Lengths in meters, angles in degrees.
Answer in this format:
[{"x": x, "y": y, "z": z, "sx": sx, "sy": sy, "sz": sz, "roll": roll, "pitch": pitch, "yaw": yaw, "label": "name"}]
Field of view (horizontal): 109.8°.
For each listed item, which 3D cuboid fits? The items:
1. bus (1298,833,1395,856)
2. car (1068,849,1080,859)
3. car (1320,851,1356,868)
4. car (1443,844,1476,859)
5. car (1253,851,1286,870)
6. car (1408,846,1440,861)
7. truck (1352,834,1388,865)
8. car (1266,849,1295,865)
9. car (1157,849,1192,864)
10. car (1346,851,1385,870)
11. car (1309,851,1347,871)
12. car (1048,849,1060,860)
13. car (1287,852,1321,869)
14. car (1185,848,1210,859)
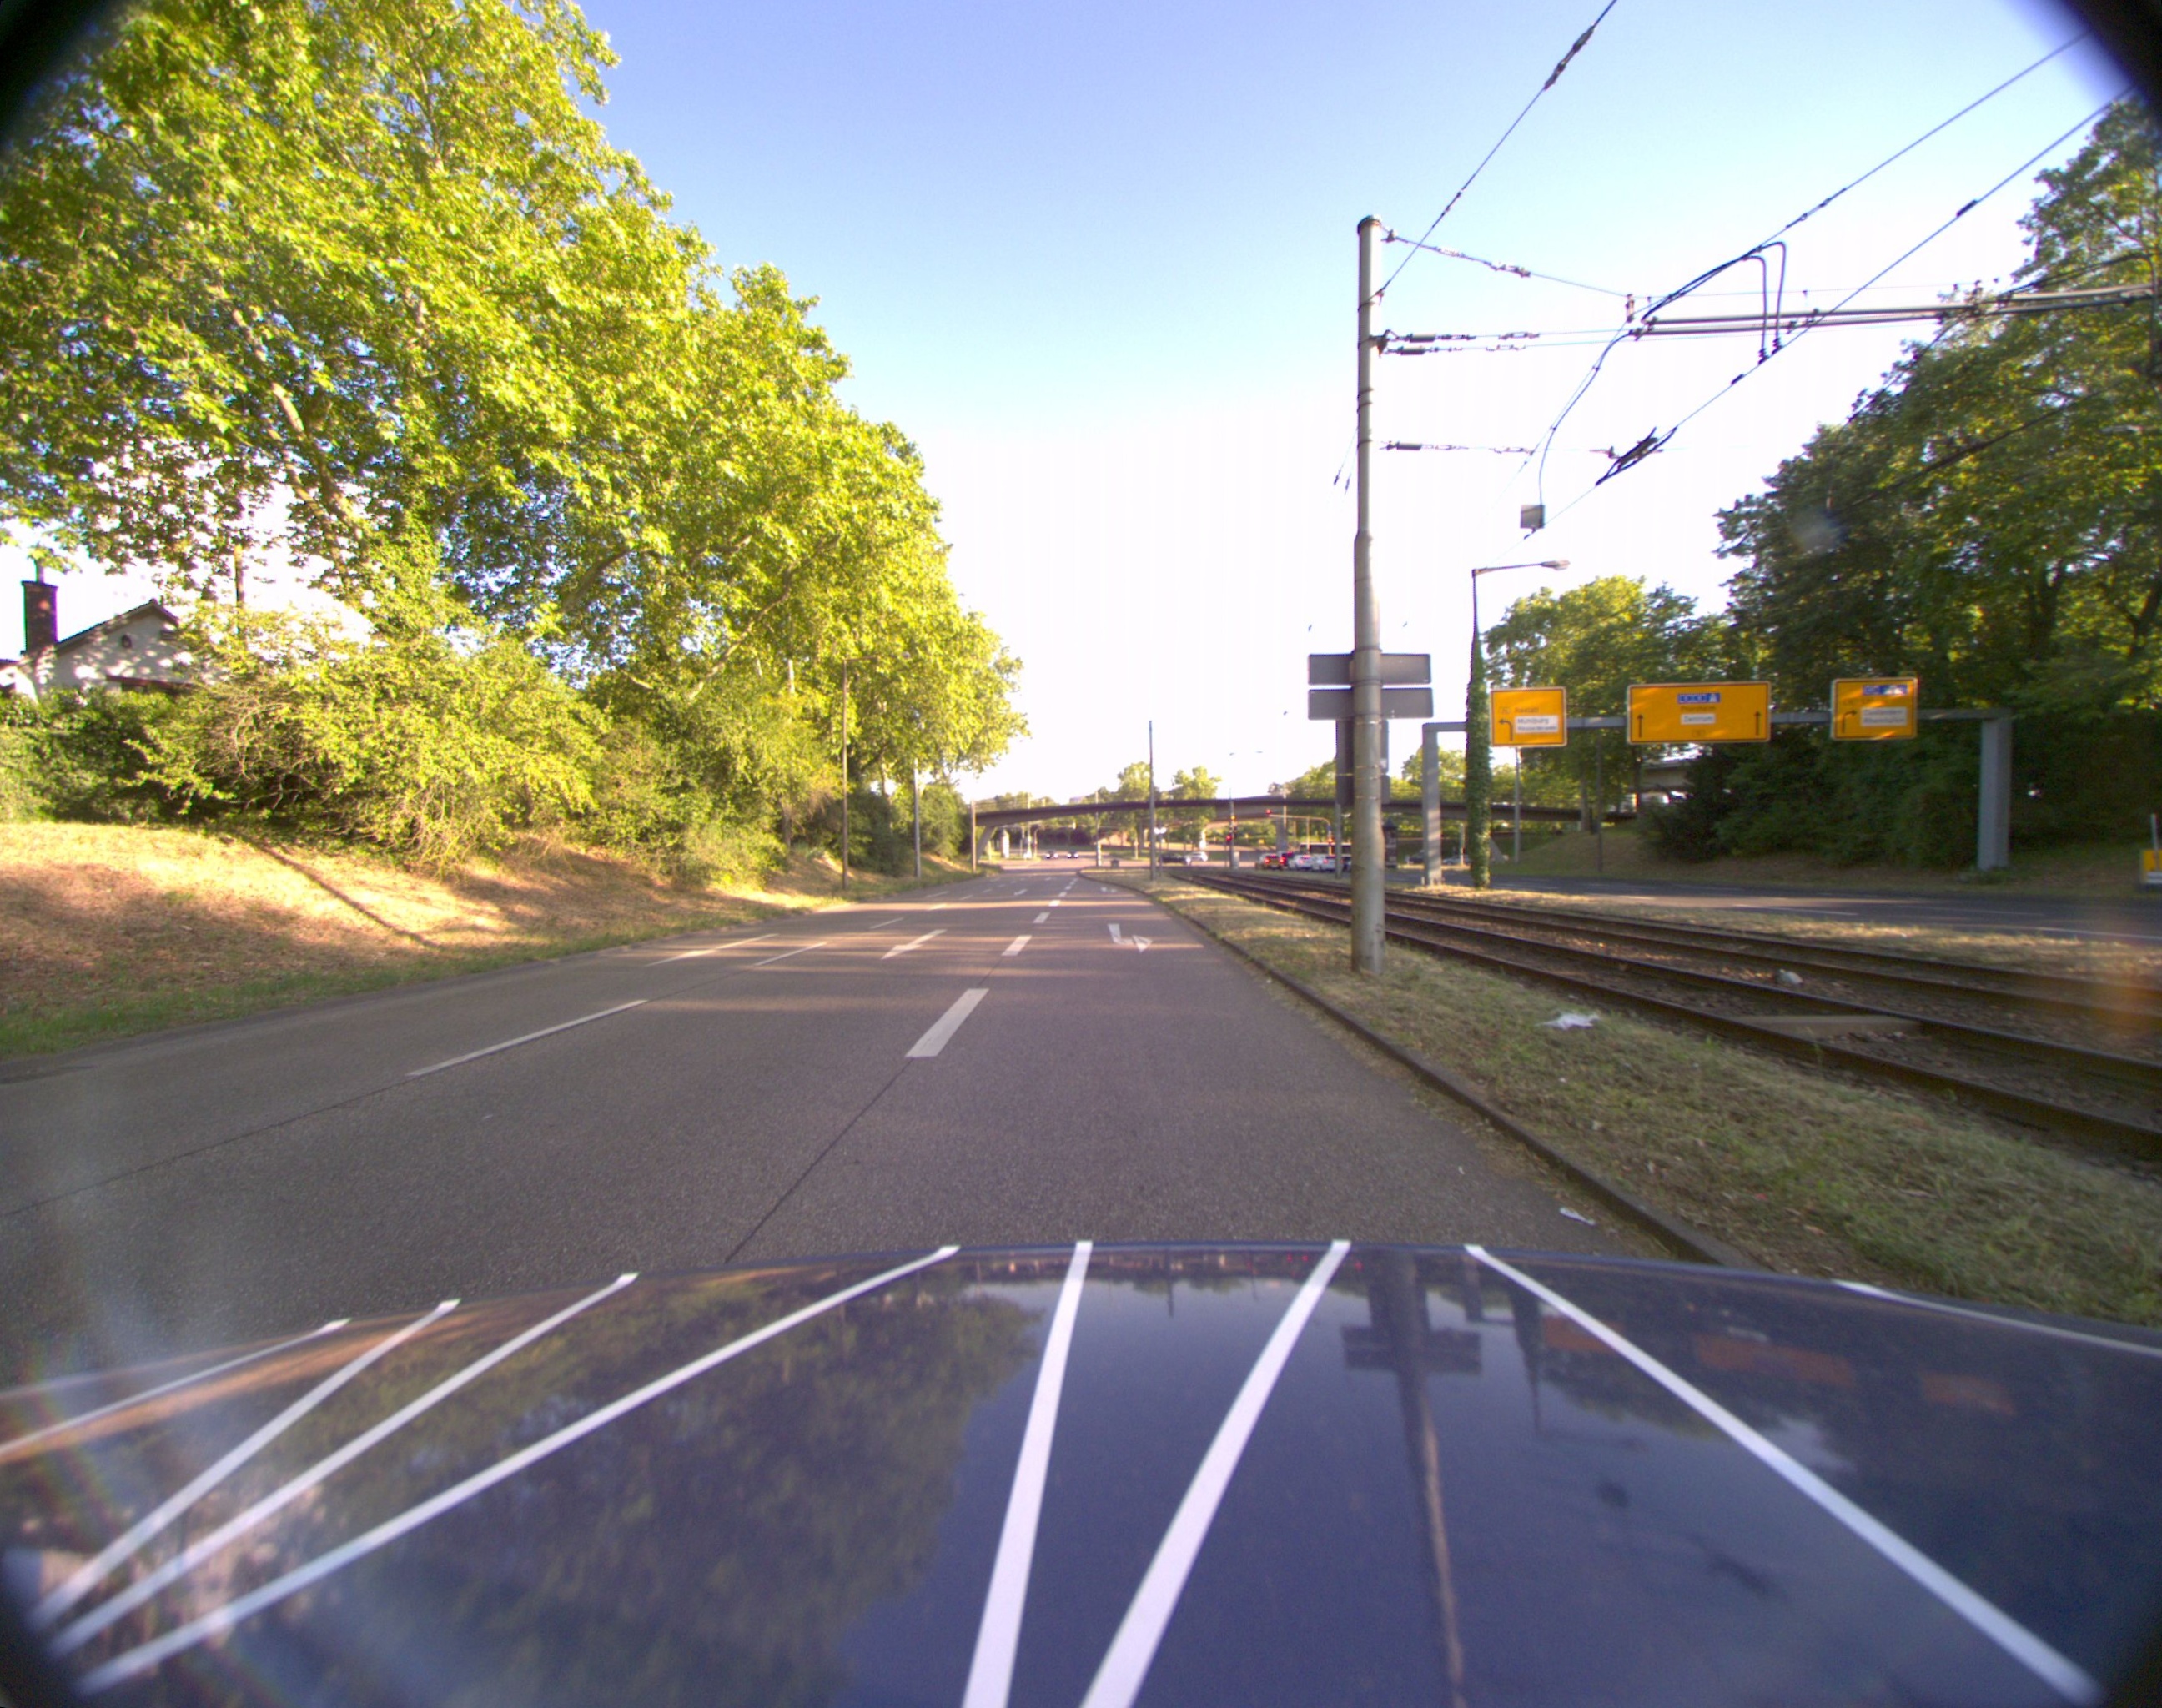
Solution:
[{"x": 38.963, "y": -1.403, "z": 111.755, "sx": 13.162, "sy": 2.846, "sz": 2.421, "roll": -2, "pitch": 1, "yaw": 23, "label": "bus"}, {"x": -1.263, "y": 0.046, "z": 141.880, "sx": 1.905, "sy": 1.726, "sz": 3.998, "roll": -2, "pitch": 0, "yaw": -5, "label": "car"}, {"x": 23.734, "y": 0.487, "z": 70.211, "sx": 1.868, "sy": 1.416, "sz": 4.226, "roll": -1, "pitch": 0, "yaw": 0, "label": "car"}, {"x": 52.808, "y": -0.320, "z": 105.976, "sx": 3.890, "sy": 1.848, "sz": 1.679, "roll": -2, "pitch": 1, "yaw": 20, "label": "car"}, {"x": 16.144, "y": 0.515, "z": 65.237, "sx": 1.767, "sy": 1.535, "sz": 4.000, "roll": -1, "pitch": 0, "yaw": 0, "label": "car"}, {"x": 46.980, "y": -0.061, "z": 104.202, "sx": 3.805, "sy": 1.848, "sz": 1.679, "roll": -2, "pitch": 1, "yaw": 20, "label": "car"}, {"x": 28.378, "y": -0.430, "z": 74.801, "sx": 2.281, "sy": 2.862, "sz": 6.887, "roll": -1, "pitch": 0, "yaw": 13, "label": "truck"}, {"x": 19.577, "y": 0.274, "z": 74.743, "sx": 1.917, "sy": 1.540, "sz": 4.227, "roll": -1, "pitch": 0, "yaw": 4, "label": "car"}, {"x": 11.759, "y": 0.318, "z": 95.480, "sx": 3.993, "sy": 1.646, "sz": 1.786, "roll": -2, "pitch": 1, "yaw": 14, "label": "car"}, {"x": 23.966, "y": 0.549, "z": 64.067, "sx": 1.813, "sy": 1.535, "sz": 4.000, "roll": -1, "pitch": 0, "yaw": 1, "label": "car"}, {"x": 20.024, "y": 0.549, "z": 61.807, "sx": 1.767, "sy": 1.535, "sz": 4.000, "roll": -1, "pitch": 0, "yaw": 0, "label": "car"}, {"x": -4.907, "y": 0.100, "z": 139.204, "sx": 1.960, "sy": 1.779, "sz": 3.998, "roll": -2, "pitch": 0, "yaw": -5, "label": "car"}, {"x": 19.912, "y": 0.538, "z": 68.085, "sx": 1.918, "sy": 1.416, "sz": 4.227, "roll": -1, "pitch": 0, "yaw": 2, "label": "car"}, {"x": 18.374, "y": -0.072, "z": 119.619, "sx": 3.647, "sy": 1.503, "sz": 1.665, "roll": -2, "pitch": 1, "yaw": 21, "label": "car"}]
